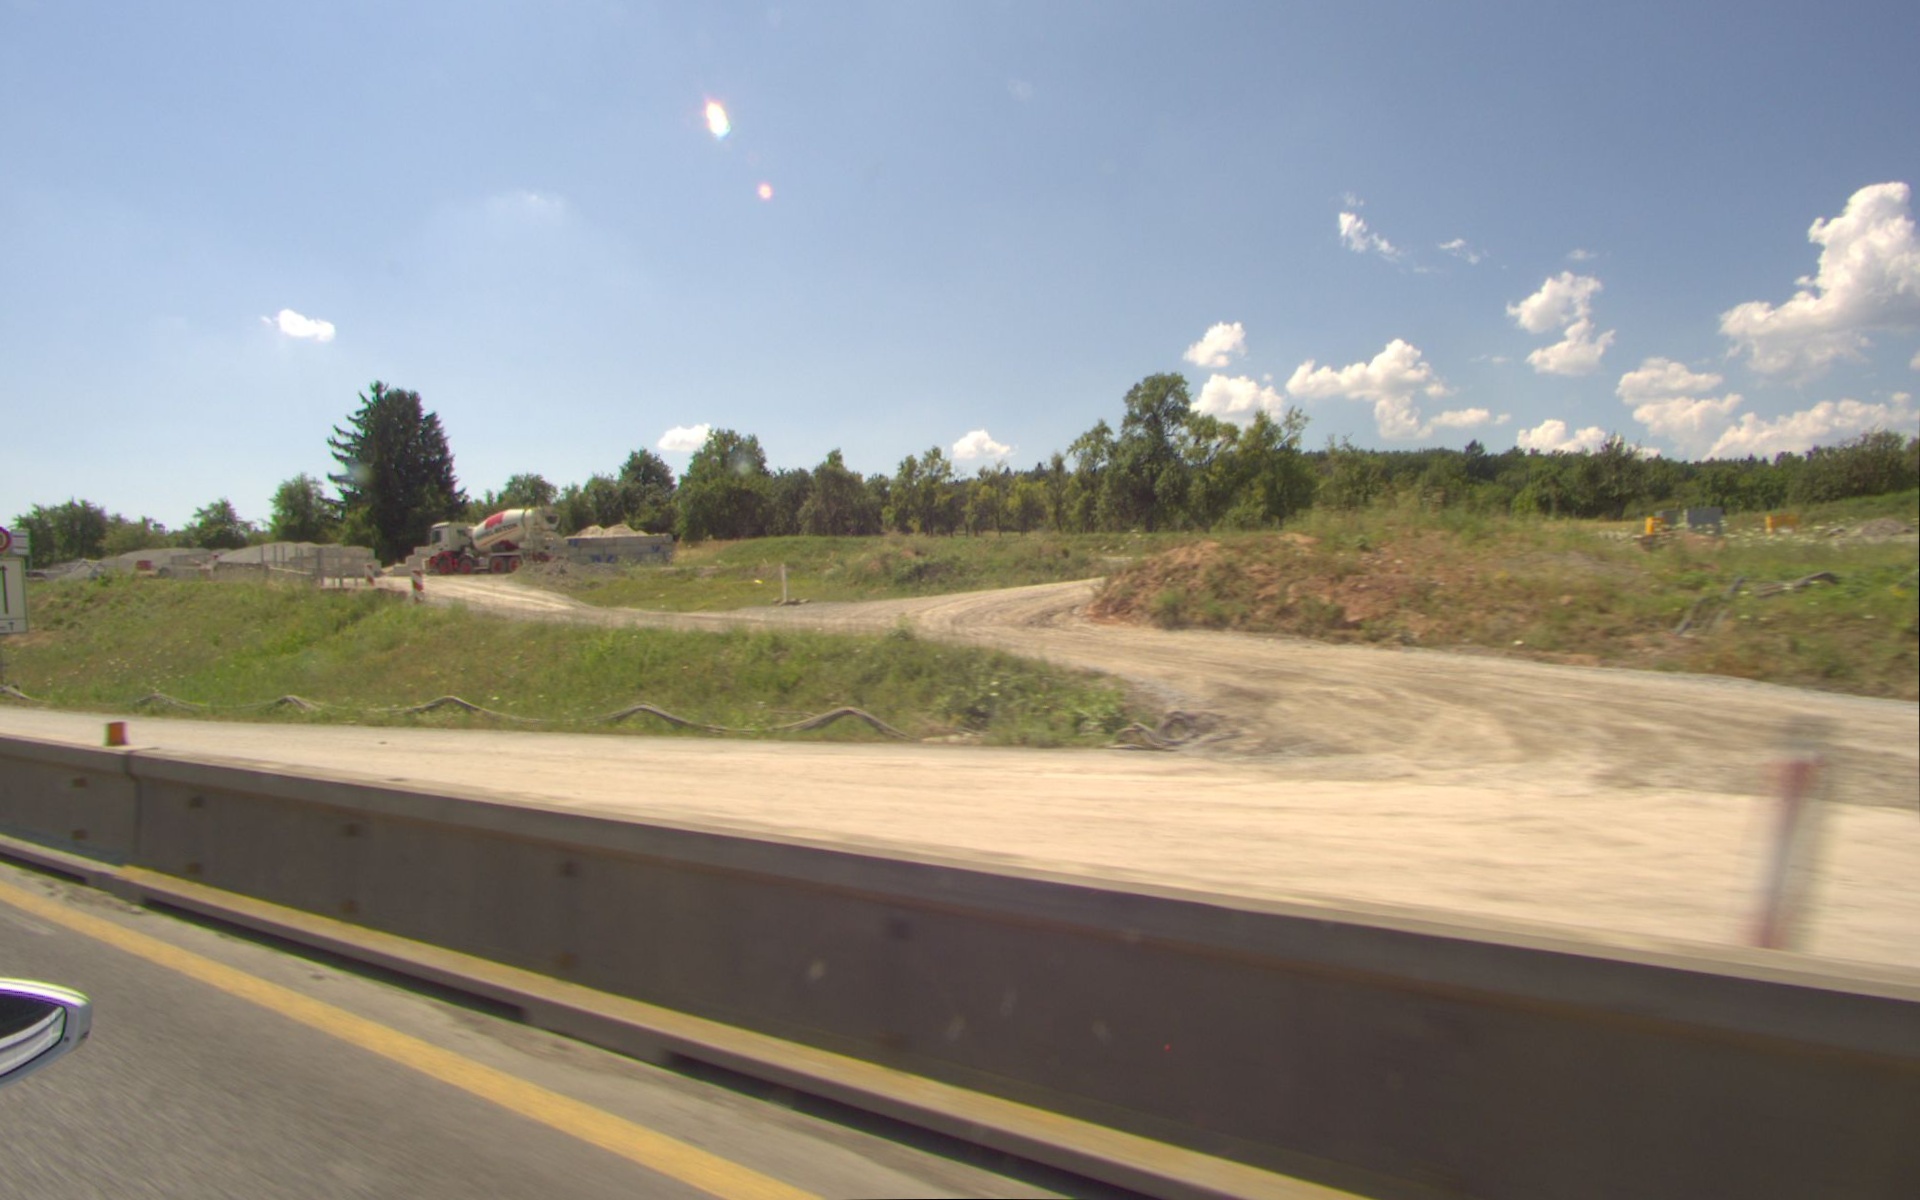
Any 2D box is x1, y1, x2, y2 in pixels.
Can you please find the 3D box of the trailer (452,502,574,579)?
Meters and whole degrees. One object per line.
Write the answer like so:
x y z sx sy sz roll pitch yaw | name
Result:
-26.520 -3.424 59.425 6.631 4.169 2.758 -1 0 22 | trailer

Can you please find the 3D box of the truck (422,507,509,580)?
-30.023 -3.377 60.837 4.030 4.150 2.747 -1 0 22 | truck
